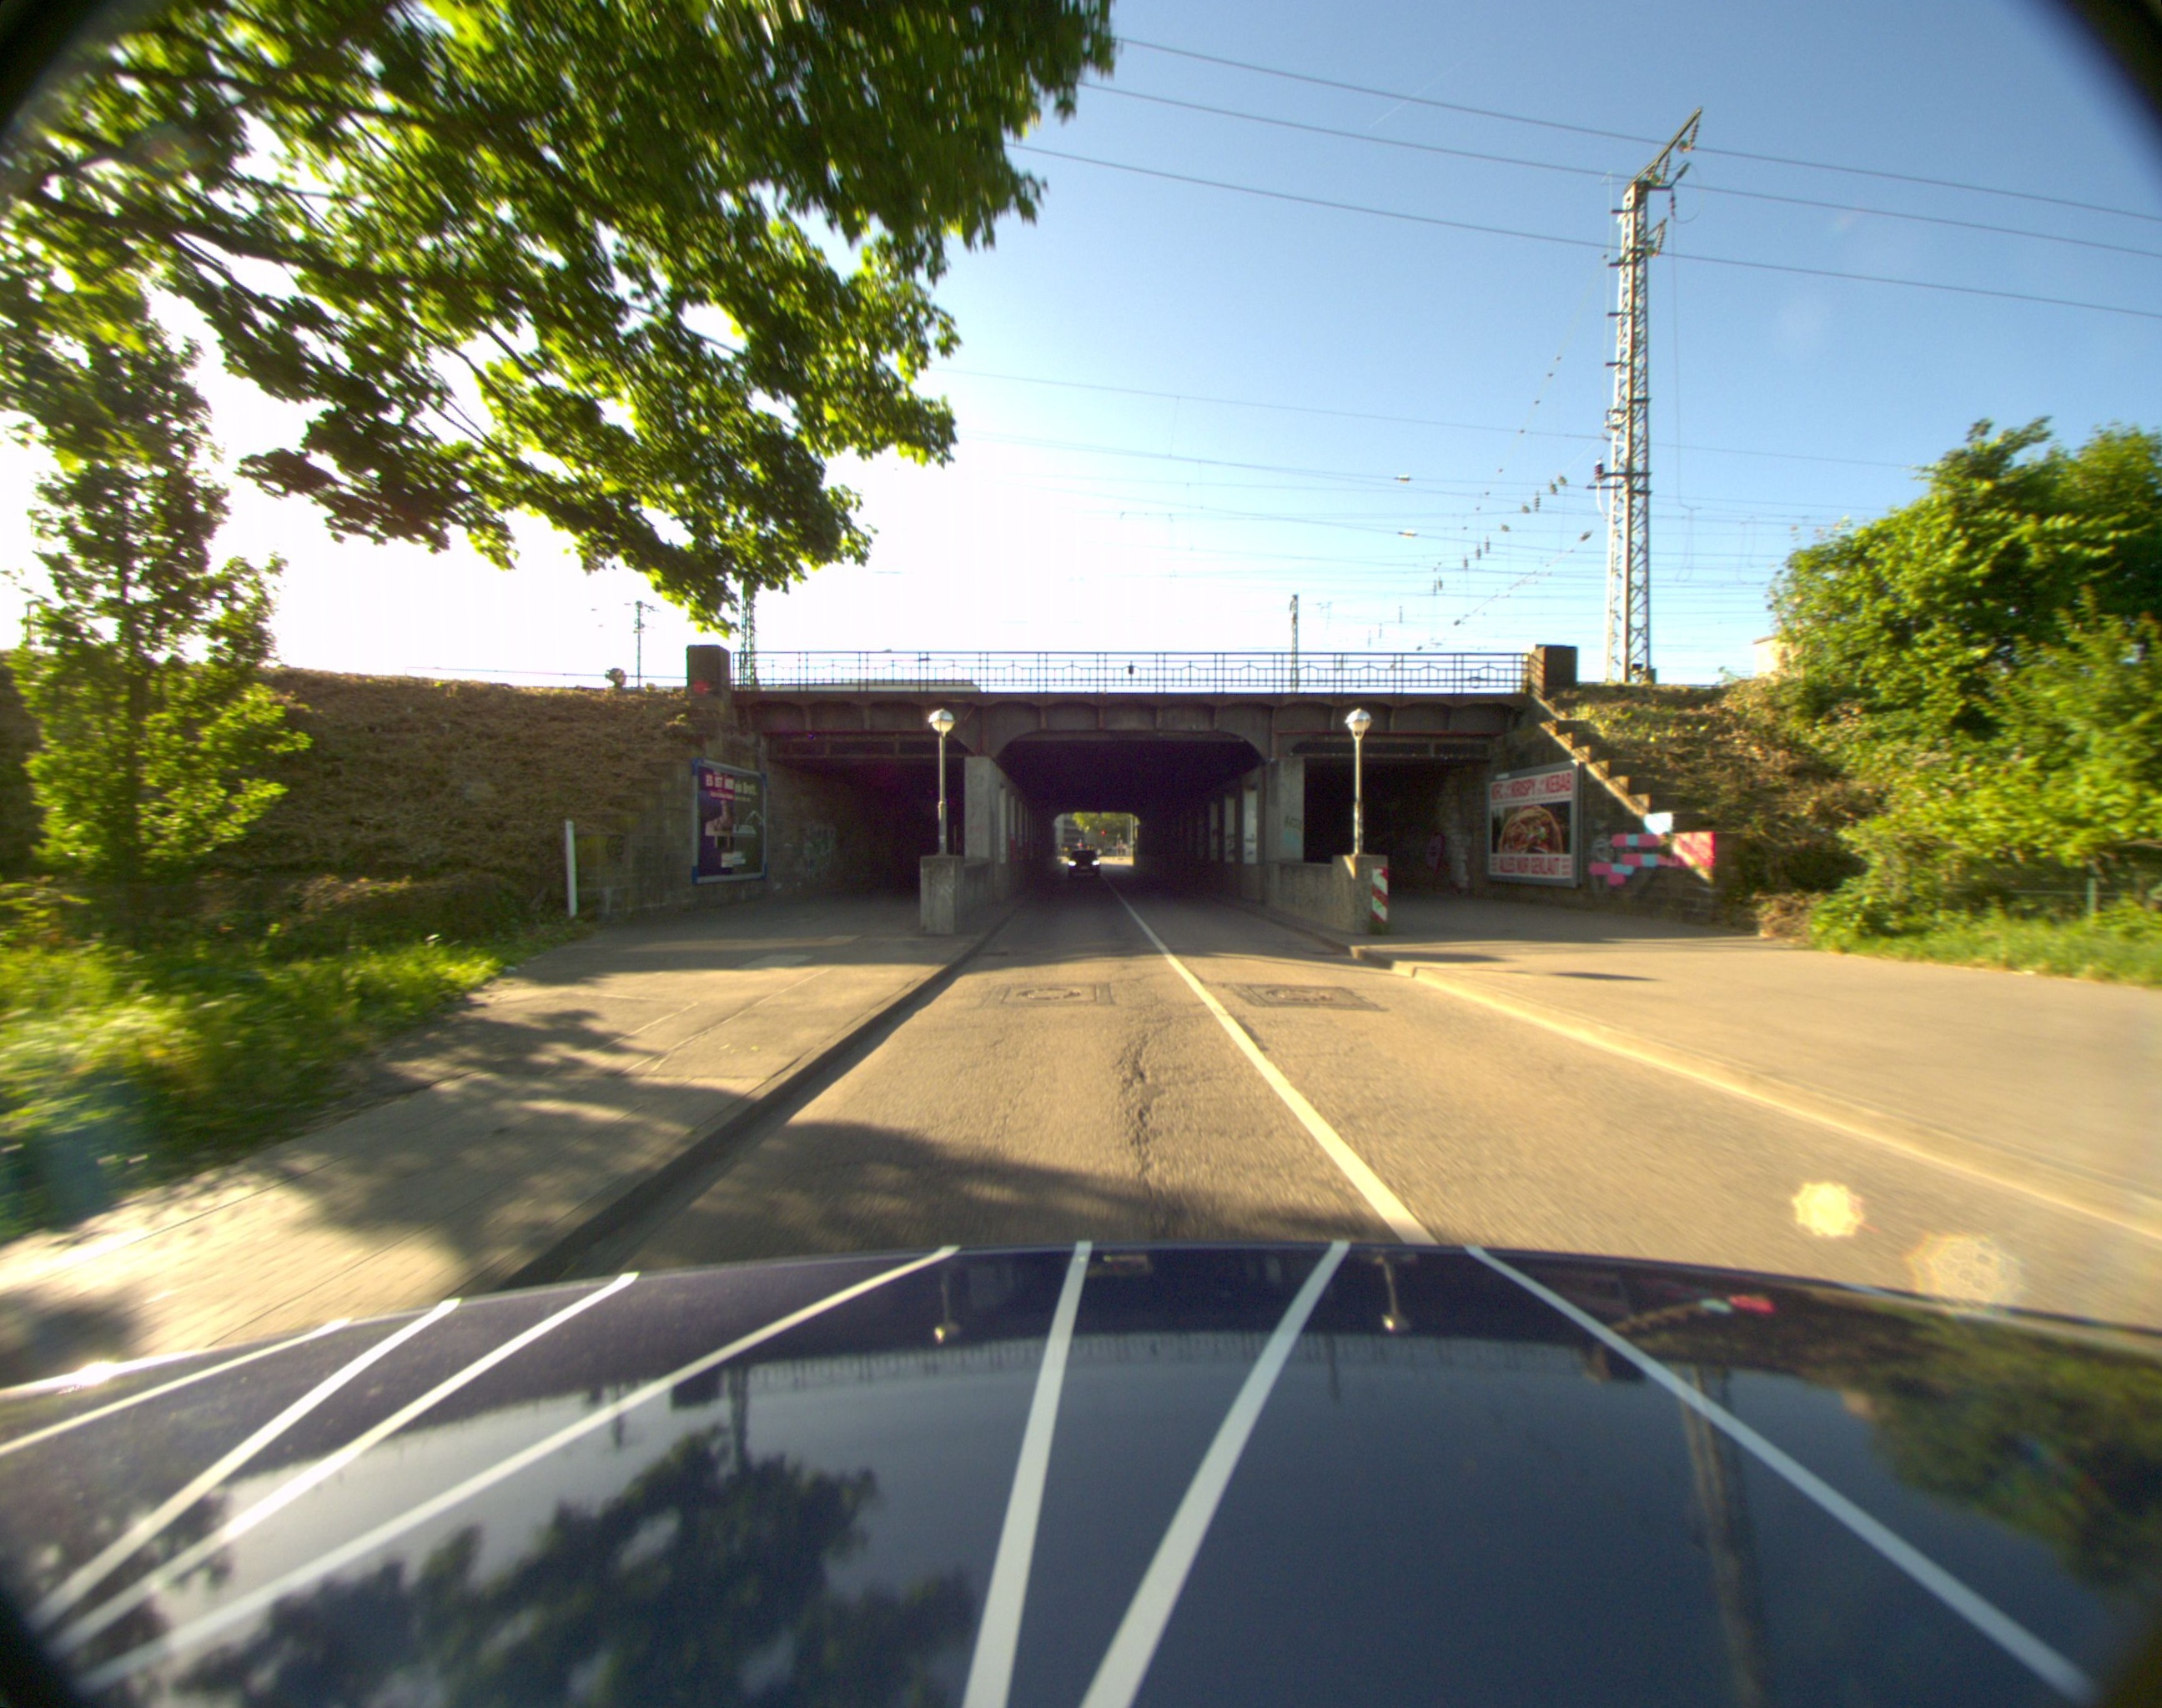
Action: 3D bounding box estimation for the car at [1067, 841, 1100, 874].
[{"bbox_3d":[0.196,0.179,48.287,1.941,1.922,4.523,1,1,1],"label":"car"}]
